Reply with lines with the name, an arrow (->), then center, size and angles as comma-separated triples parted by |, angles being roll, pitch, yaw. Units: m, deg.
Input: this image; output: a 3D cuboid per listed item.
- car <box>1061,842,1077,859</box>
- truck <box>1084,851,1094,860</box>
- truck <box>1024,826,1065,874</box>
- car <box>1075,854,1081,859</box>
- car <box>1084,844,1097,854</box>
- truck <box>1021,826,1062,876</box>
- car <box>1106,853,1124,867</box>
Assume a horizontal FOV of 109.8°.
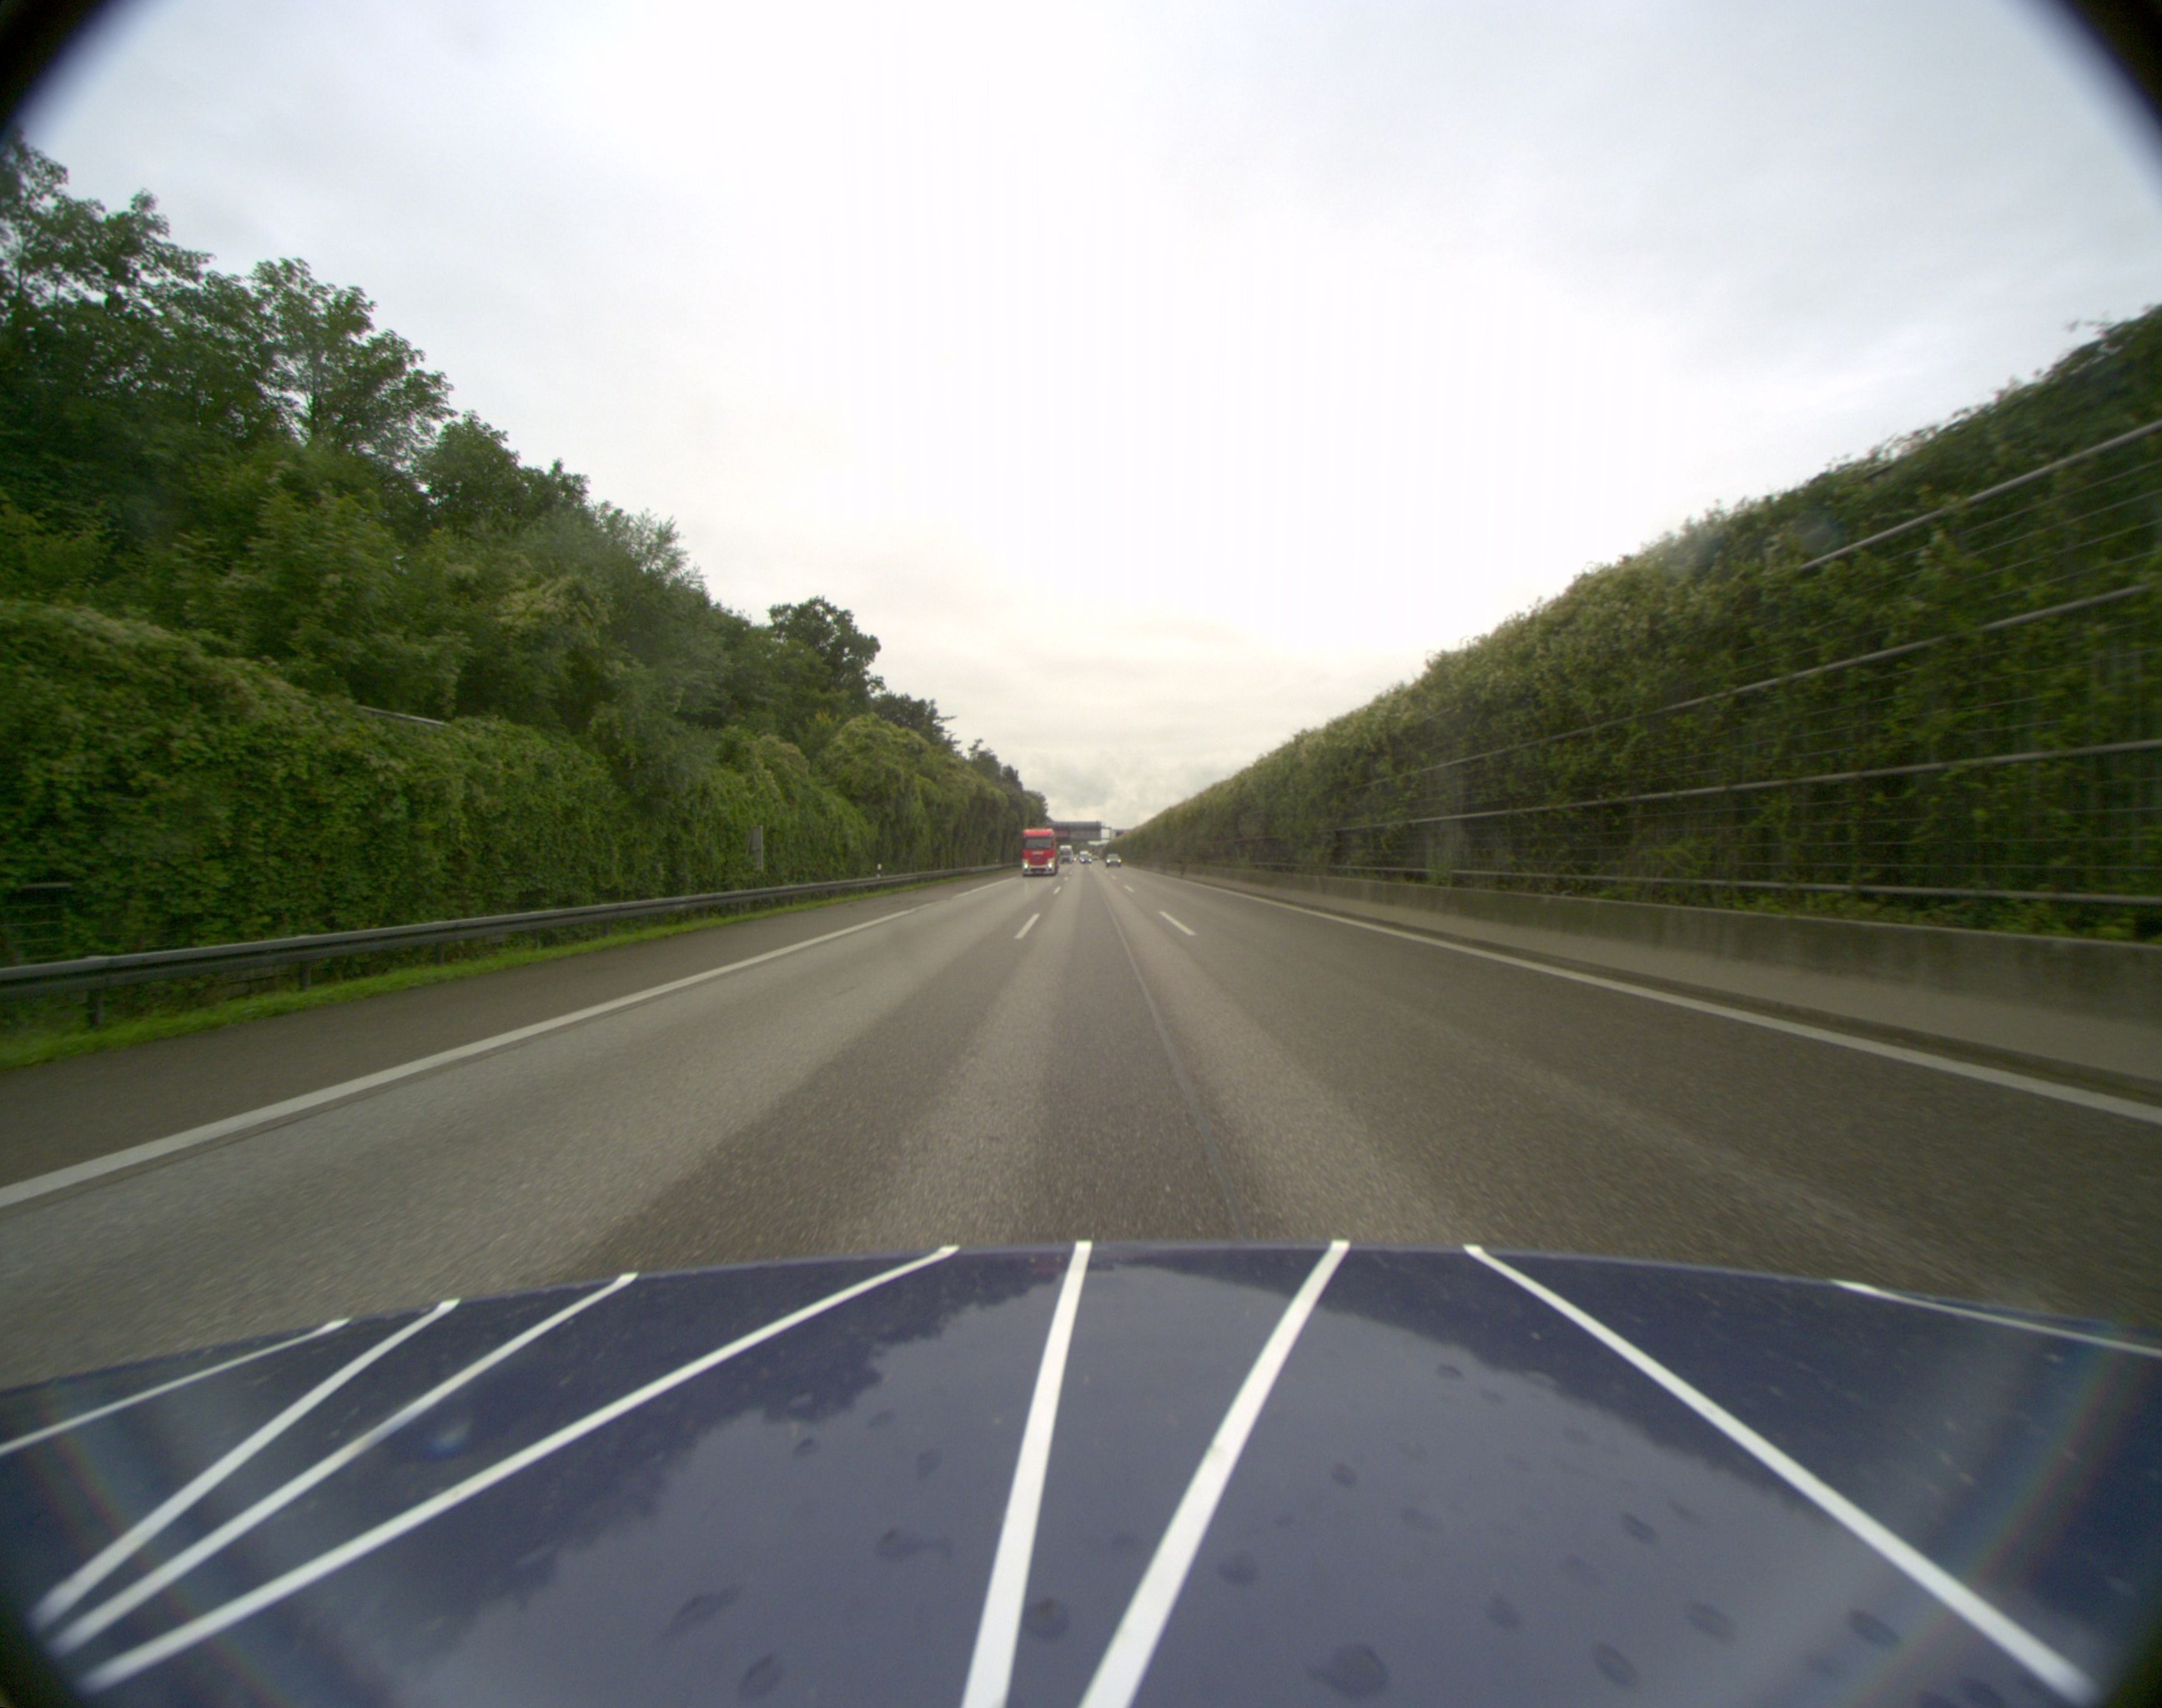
car -> -2.578, -0.777, 161.377 | 3.039, 3.278, 6.733 | -2, 1, 0
truck -> 1.525, 0.269, 144.401 | 1.825, 1.535, 3.999 | -2, 2, 1
truck -> -2.967, -0.451, 65.184 | 2.708, 3.690, 9.840 | -1, 2, 2
car -> -0.828, 0.700, 206.937 | 1.751, 1.368, 4.000 | -1, 0, 0
car -> 2.152, -1.132, 168.201 | 2.769, 2.227, 6.546 | -2, 1, 1
truck -> -3.096, -0.285, 60.631 | 2.708, 3.809, 4.198 | -1, 2, 3
car -> 4.359, 0.706, 98.721 | 2.023, 1.595, 5.438 | -3, 1, 0
